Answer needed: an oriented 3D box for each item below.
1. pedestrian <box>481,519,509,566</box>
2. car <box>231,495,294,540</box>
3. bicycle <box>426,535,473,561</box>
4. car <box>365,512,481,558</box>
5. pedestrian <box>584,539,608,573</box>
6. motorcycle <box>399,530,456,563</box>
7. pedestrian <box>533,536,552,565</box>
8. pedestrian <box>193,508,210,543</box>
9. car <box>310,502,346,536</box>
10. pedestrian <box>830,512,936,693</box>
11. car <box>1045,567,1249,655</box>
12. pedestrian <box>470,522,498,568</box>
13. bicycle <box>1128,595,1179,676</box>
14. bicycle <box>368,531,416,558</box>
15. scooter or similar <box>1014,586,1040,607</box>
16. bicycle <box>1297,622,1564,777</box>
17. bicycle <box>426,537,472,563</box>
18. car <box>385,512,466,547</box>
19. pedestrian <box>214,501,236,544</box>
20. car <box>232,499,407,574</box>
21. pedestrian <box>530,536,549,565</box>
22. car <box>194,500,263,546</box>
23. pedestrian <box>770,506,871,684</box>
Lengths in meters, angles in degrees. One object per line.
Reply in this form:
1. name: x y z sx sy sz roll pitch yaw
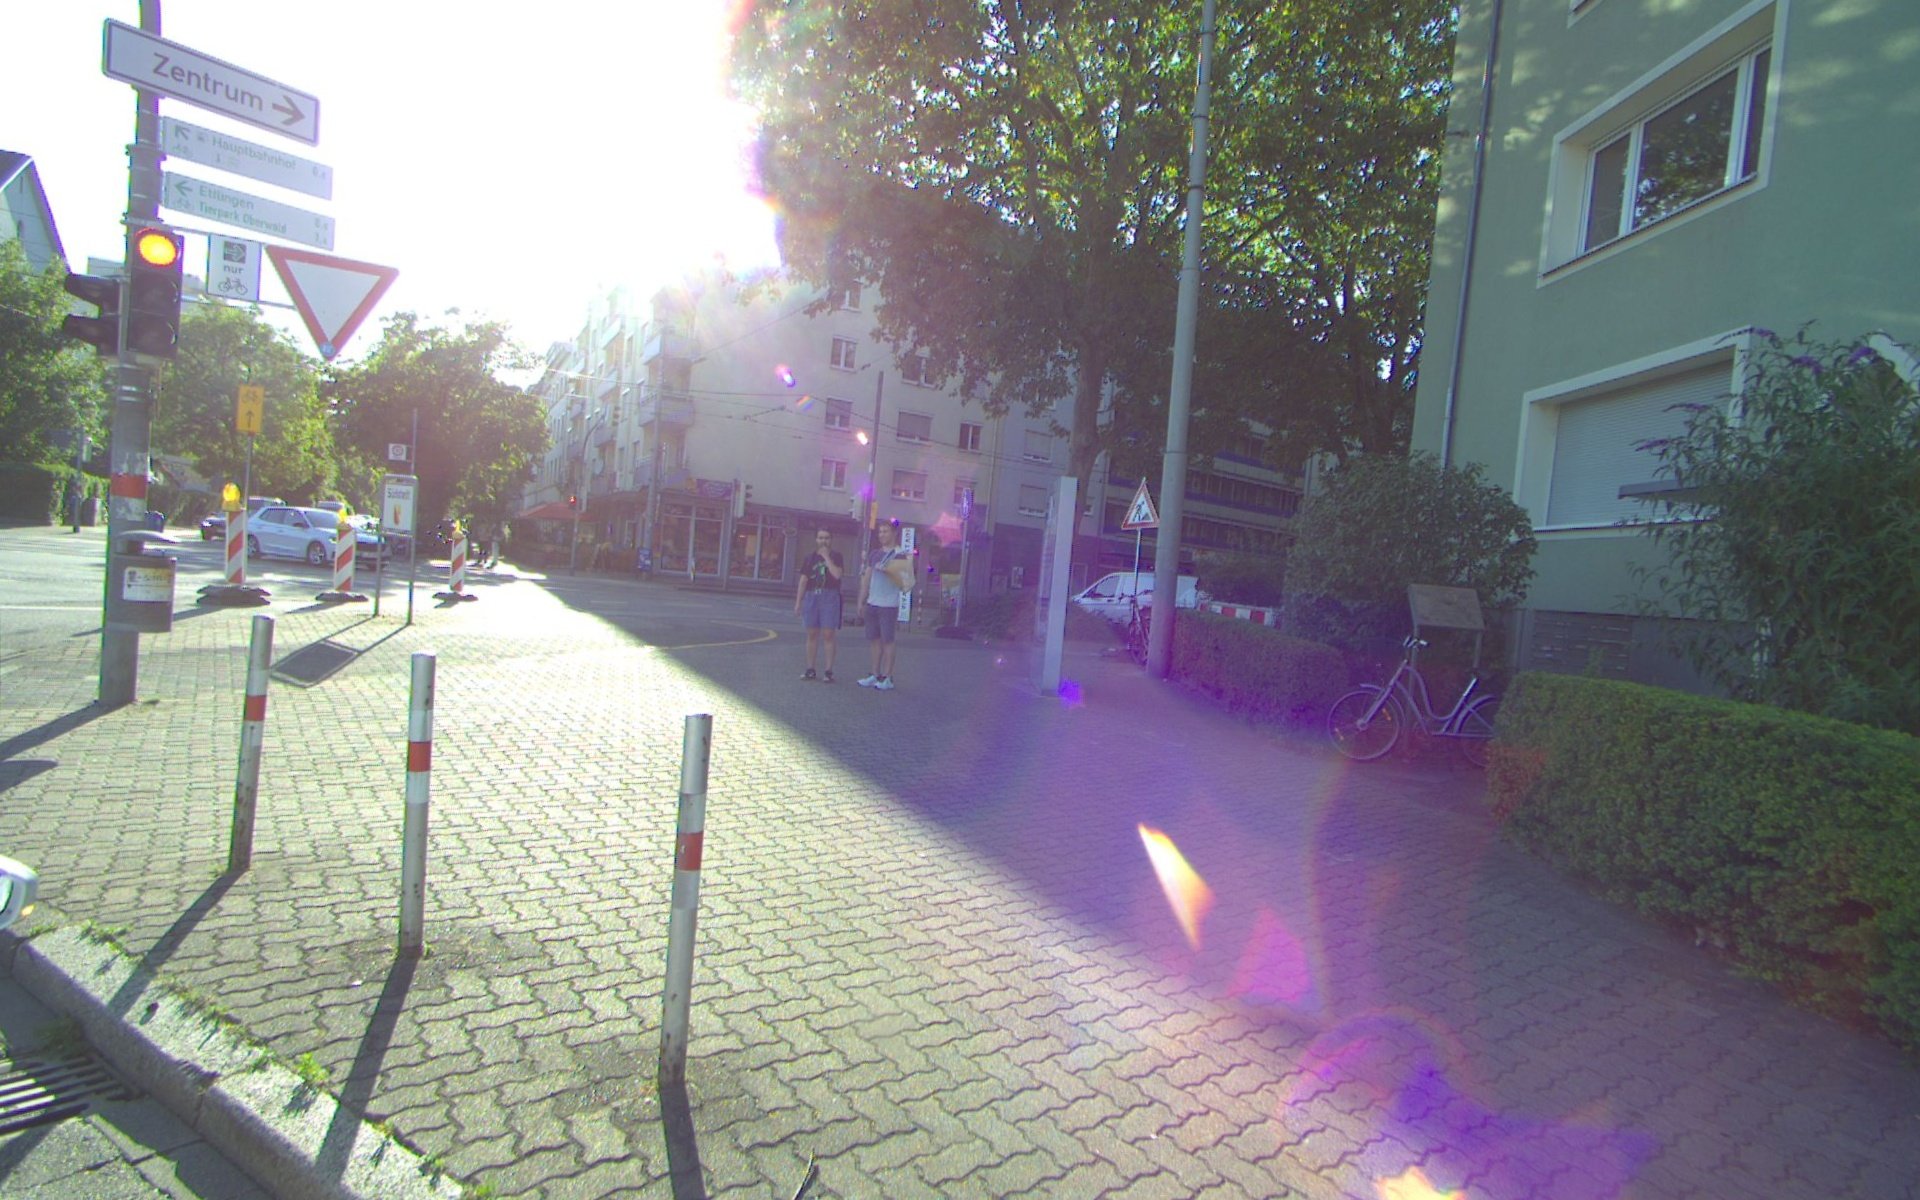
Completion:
1. pedestrian: -18.504 -2.286 40.062 0.681 1.774 0.793 5 2 -7
2. car: -37.336 -4.398 53.990 2.336 2.040 5.265 4 2 -31
3. bicycle: -21.608 -2.190 42.610 1.708 0.945 0.557 5 2 -29
4. car: -30.233 -3.583 56.680 5.576 1.948 2.343 5 0 -32
5. pedestrian: -17.691 -2.122 48.912 0.806 1.565 0.905 3 3 -35
6. motorcycle: -21.646 -2.165 40.886 1.938 1.124 0.829 4 2 -34
7. pedestrian: -20.826 -2.487 50.207 0.803 1.381 0.908 4 2 -23
8. pedestrian: -38.948 -3.837 51.660 0.575 1.754 0.602 4 3 -34
9. car: -54.396 -6.979 86.638 2.336 2.548 5.265 4 2 -31
10. pedestrian: -0.796 0.026 10.525 0.680 1.774 0.794 6 2 21
11. car: 4.706 0.224 26.136 1.913 1.849 5.185 5 0 -37
12. pedestrian: -19.320 -2.225 40.856 0.706 1.774 0.793 5 2 -7
13. bicycle: 2.861 0.495 15.007 0.511 1.071 1.933 6 1 7
14. bicycle: -23.707 -2.334 42.018 1.708 0.945 0.667 5 2 -29
15. scooter or similar: 3.484 -0.191 52.162 1.421 0.966 0.462 4 3 -44
16. bicycle: 3.949 0.822 8.553 1.897 1.071 0.521 6 2 5
17. bicycle: -21.978 -2.167 43.281 1.708 0.945 0.557 5 2 -29
18. car: -39.357 -5.151 74.121 5.050 1.948 2.344 5 0 -32
19. pedestrian: -33.556 -3.545 45.932 0.656 1.863 0.677 4 3 -30
20. car: -16.502 -1.632 25.929 3.928 1.506 1.894 6 2 24
21. pedestrian: -21.466 -2.526 51.363 0.803 1.381 0.908 4 2 -23
22. car: -29.541 -3.121 40.741 1.879 1.585 4.354 4 2 -33
23. pedestrian: -1.479 -0.057 10.728 0.680 1.774 0.794 6 2 13
